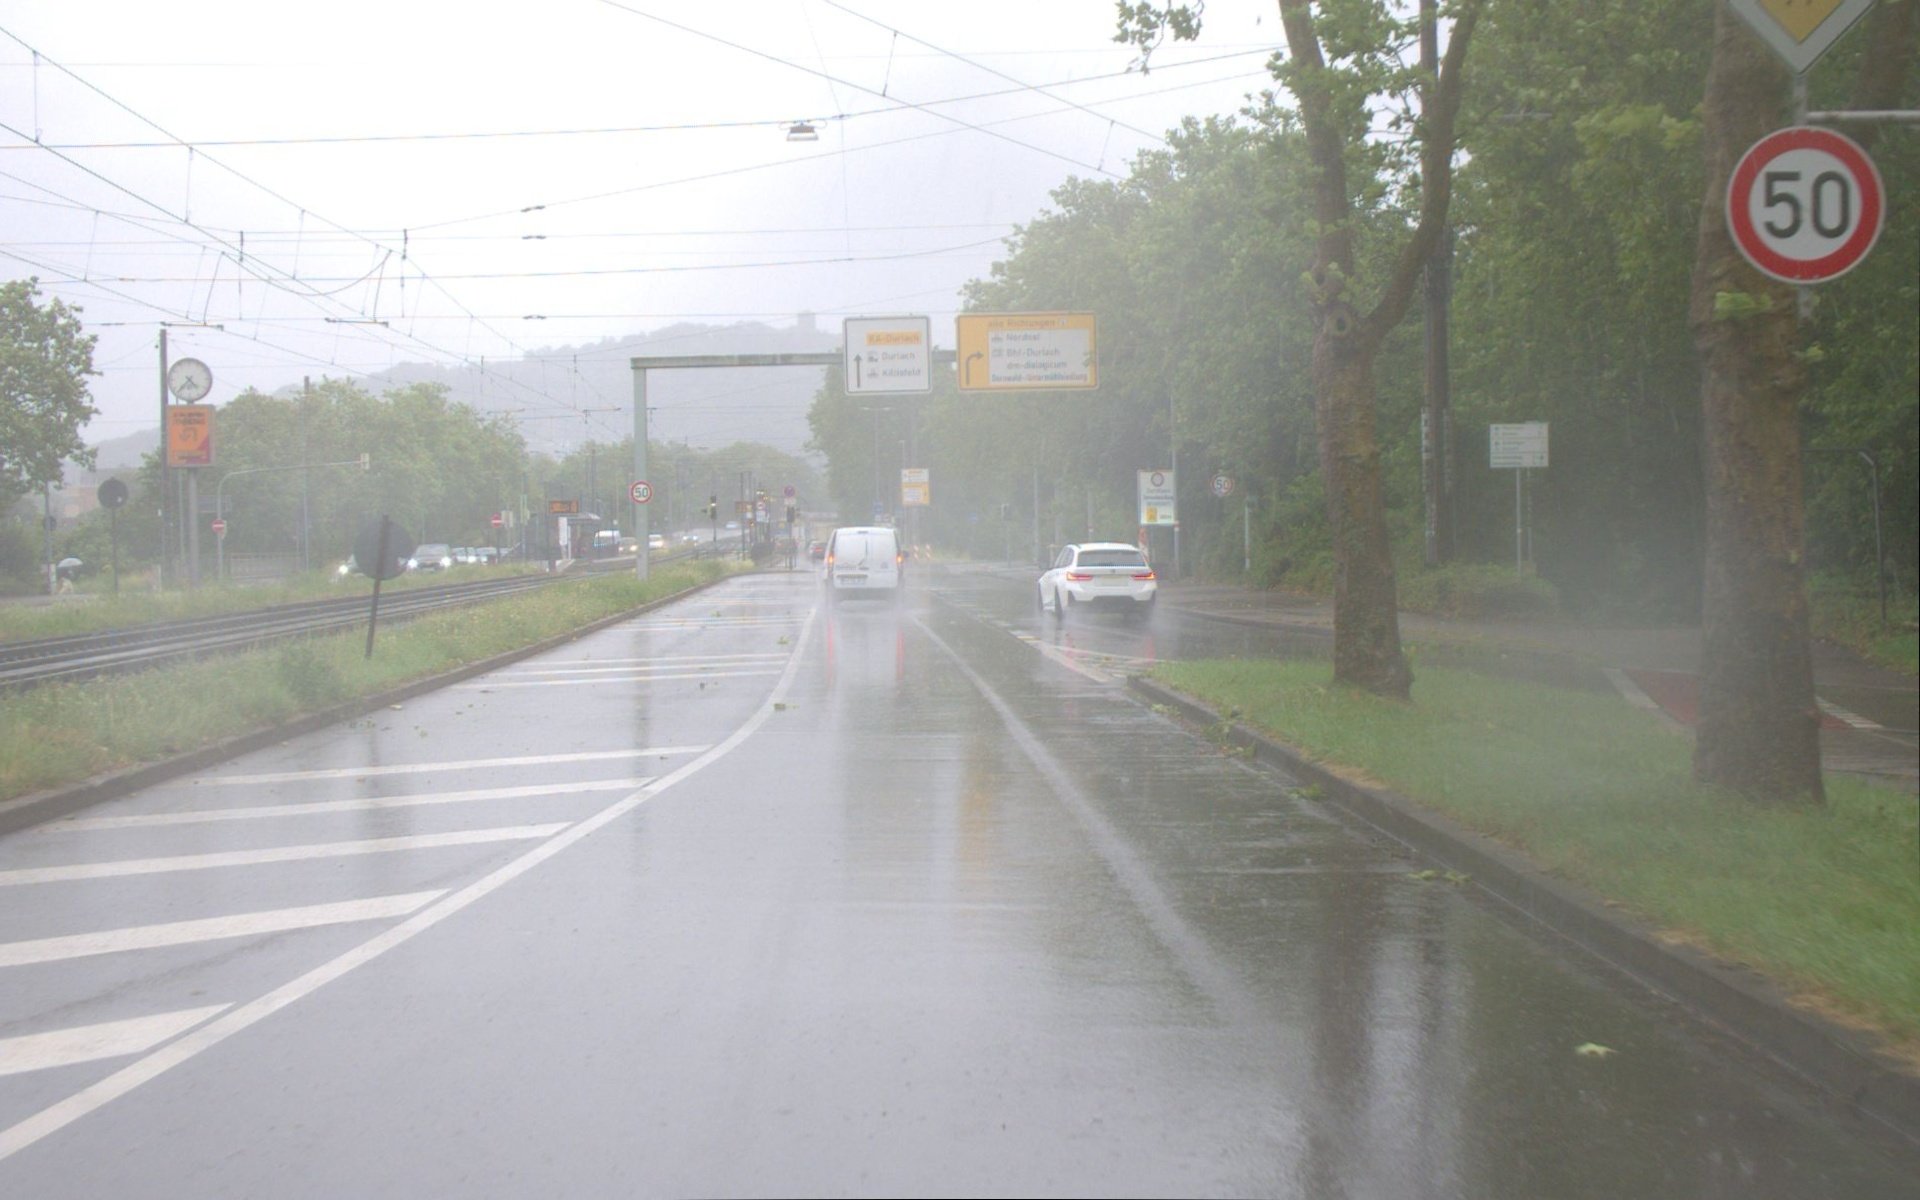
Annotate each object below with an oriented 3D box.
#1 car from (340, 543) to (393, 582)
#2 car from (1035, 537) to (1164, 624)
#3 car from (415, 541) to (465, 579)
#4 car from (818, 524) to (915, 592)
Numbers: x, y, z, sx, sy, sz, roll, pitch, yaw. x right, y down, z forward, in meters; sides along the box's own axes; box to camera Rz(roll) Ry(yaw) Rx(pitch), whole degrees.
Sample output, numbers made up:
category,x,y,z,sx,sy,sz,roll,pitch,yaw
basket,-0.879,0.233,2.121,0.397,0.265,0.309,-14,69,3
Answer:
category,x,y,z,sx,sy,sz,roll,pitch,yaw
car,-26.585,-1.702,154.138,1.943,1.680,4.781,-1,1,-5
car,2.515,-0.376,63.160,1.948,1.531,4.467,-1,1,-3
car,-23.138,-1.785,153.061,1.943,1.610,4.990,-1,1,-6
car,-2.103,-0.941,76.837,2.077,1.415,4.000,-2,1,-2
